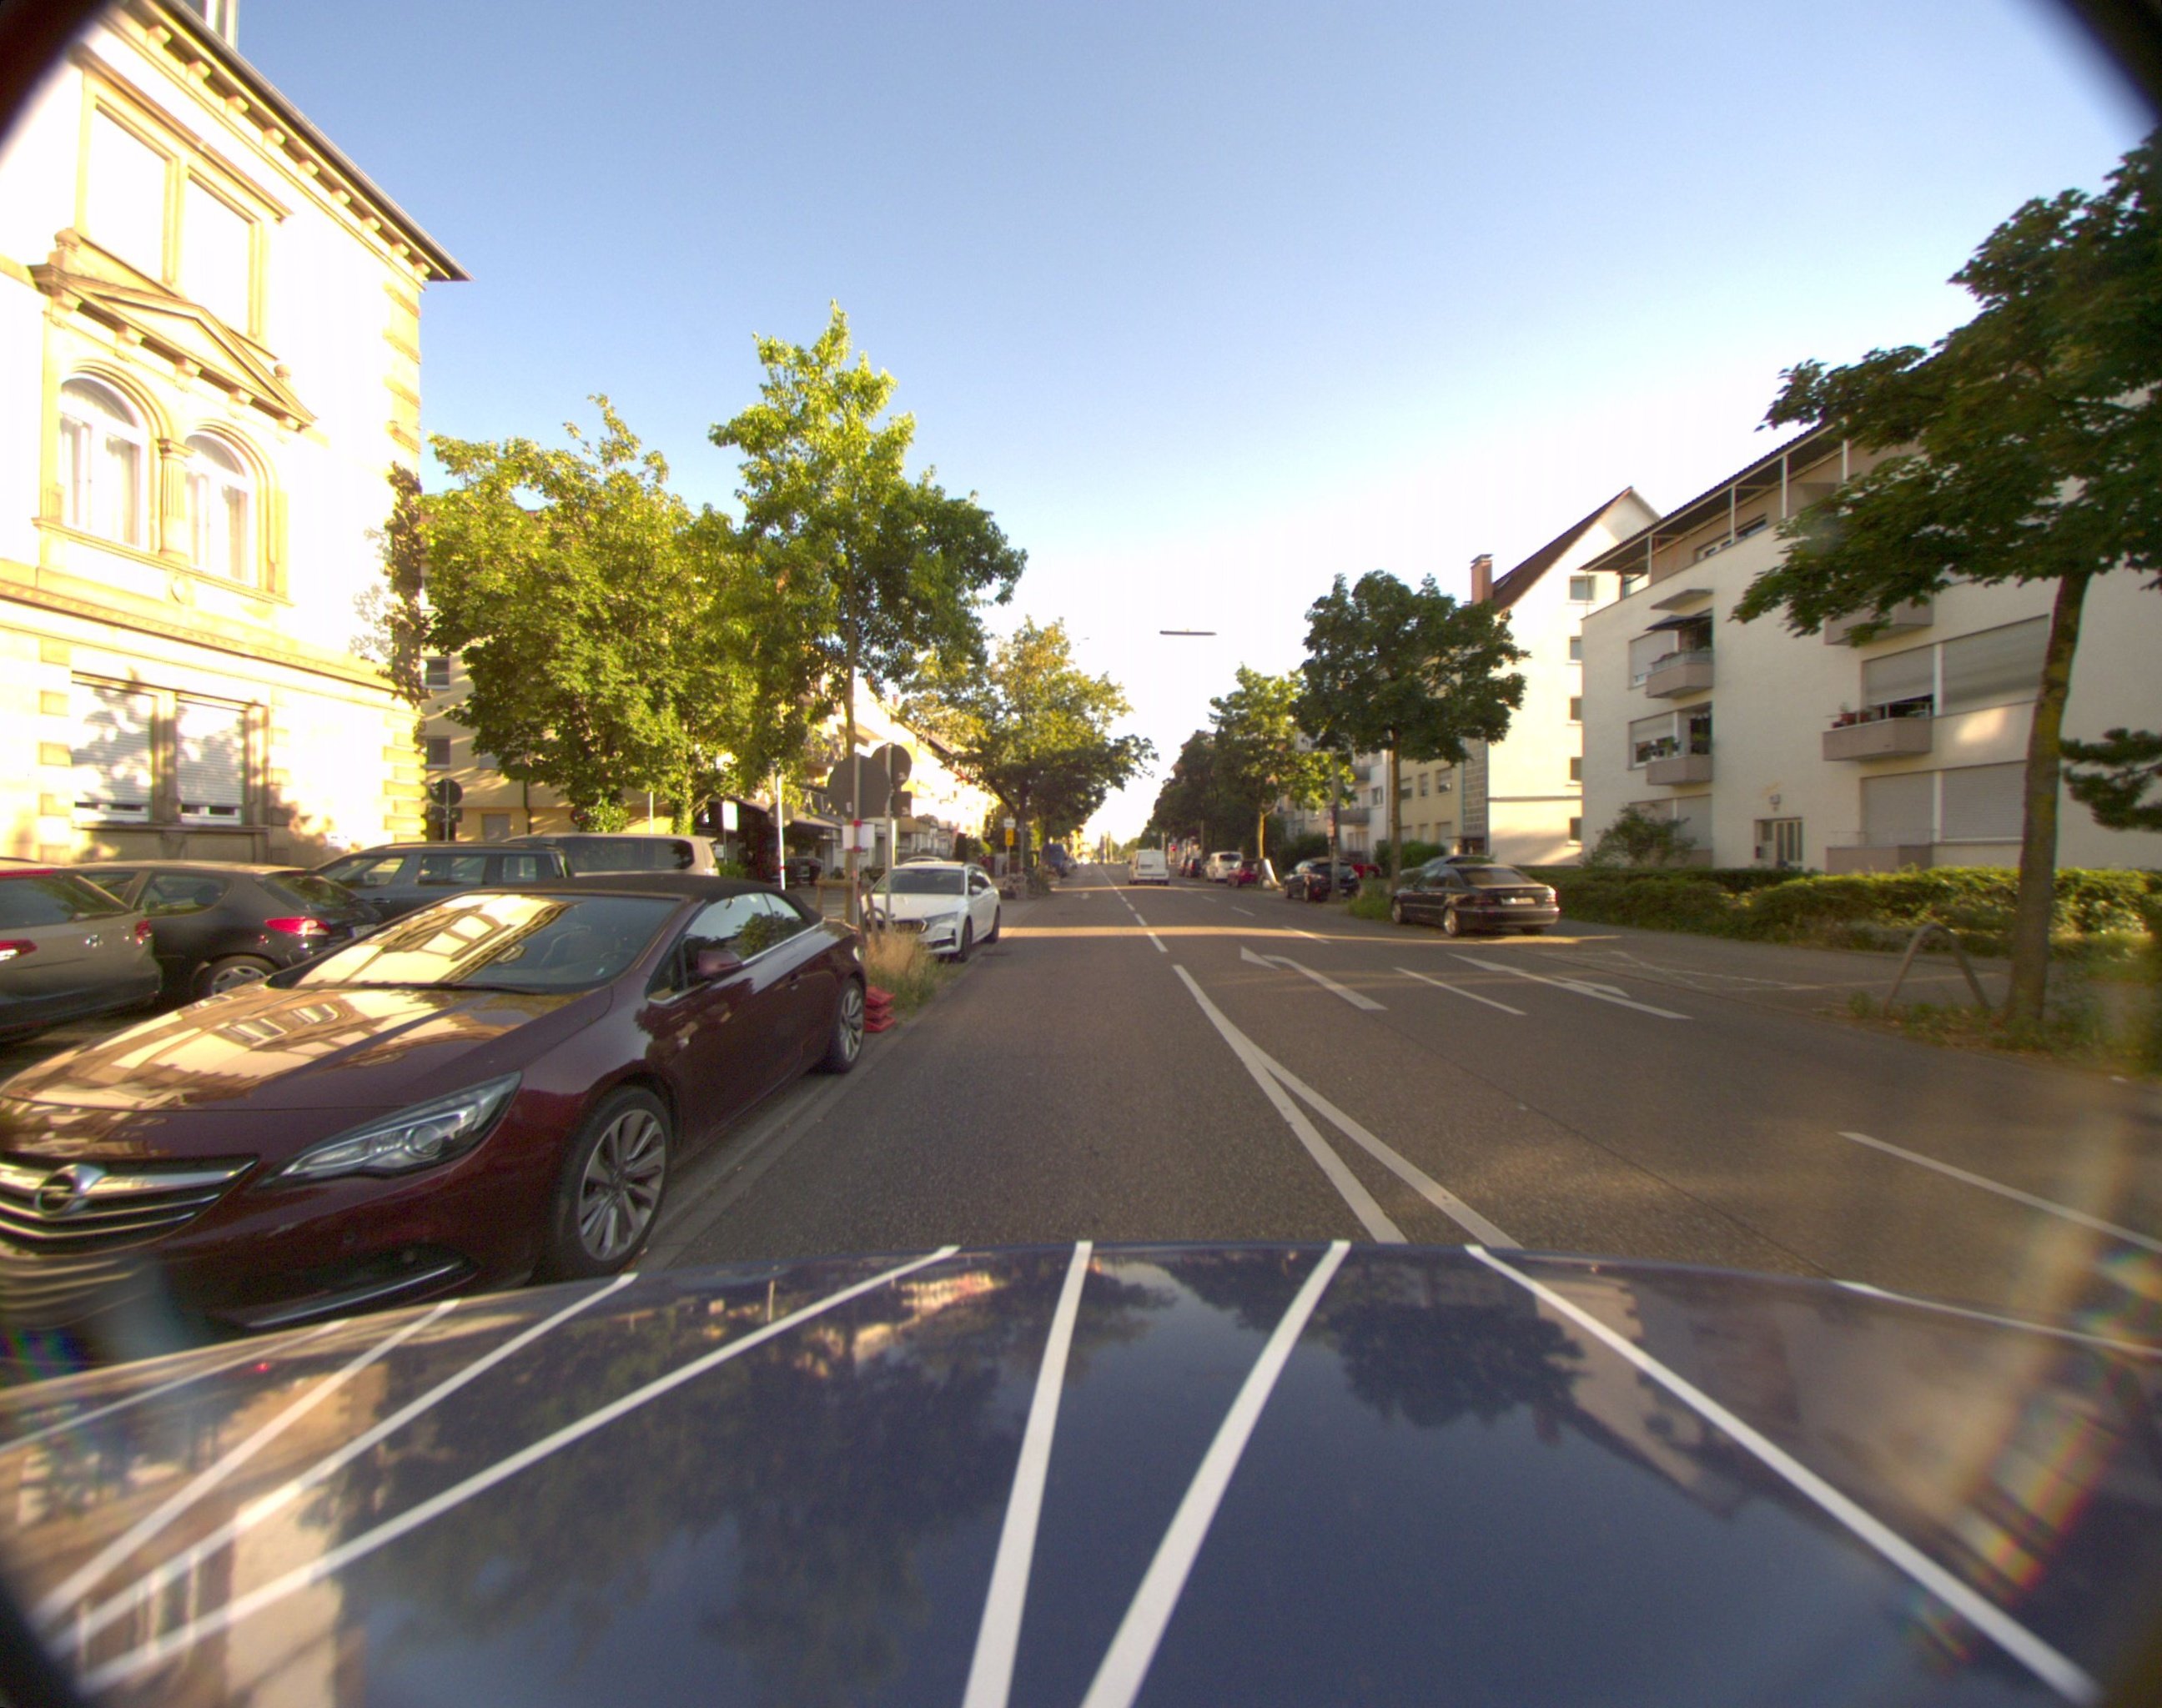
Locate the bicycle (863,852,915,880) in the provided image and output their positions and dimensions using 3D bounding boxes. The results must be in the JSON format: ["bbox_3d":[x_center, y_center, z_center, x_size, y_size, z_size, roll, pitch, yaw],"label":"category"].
[{"bbox_3d":[-10.027,0.613,39.658,2.459,1.433,0.928,0,1,-1],"label":"bicycle"}]

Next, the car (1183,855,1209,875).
[{"bbox_3d":[8.642,0.816,57.305,1.407,1.397,3.683,-2,1,2],"label":"car"}]

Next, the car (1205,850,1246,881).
[{"bbox_3d":[8.704,0.653,46.144,1.740,1.799,4.192,0,0,1],"label":"car"}]

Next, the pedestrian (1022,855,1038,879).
[{"bbox_3d":[-3.079,0.767,45.956,0.917,1.435,0.811,0,1,-1],"label":"pedestrian"}]

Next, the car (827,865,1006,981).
[{"bbox_3d":[-2.416,0.953,12.443,1.825,1.469,4.621,0,0,1],"label":"car"}]

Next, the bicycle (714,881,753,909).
[{"bbox_3d":[-10.824,1.268,23.717,0.486,0.763,1.531,0,0,2],"label":"bicycle"}]

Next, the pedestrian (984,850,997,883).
[{"bbox_3d":[-4.907,0.681,41.354,0.619,1.761,0.562,0,0,2],"label":"pedestrian"}]

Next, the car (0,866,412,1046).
[{"bbox_3d":[-9.177,0.858,7.036,4.105,1.432,1.713,1,0,-22],"label":"car"}]

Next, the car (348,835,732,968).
[{"bbox_3d":[-8.679,0.660,12.826,4.946,1.888,1.916,-1,0,-28],"label":"car"}]

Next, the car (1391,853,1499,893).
[{"bbox_3d":[14.400,0.738,30.196,3.467,1.515,1.686,0,0,2],"label":"car"}]

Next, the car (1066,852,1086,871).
[{"bbox_3d":[-0.448,0.664,70.299,1.704,1.739,4.000,0,0,2],"label":"car"}]

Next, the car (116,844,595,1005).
[{"bbox_3d":[-8.750,0.747,9.750,4.106,1.689,1.783,0,0,-29],"label":"car"}]

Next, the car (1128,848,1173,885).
[{"bbox_3d":[3.584,0.599,39.992,1.893,1.793,4.430,1,0,-1],"label":"car"}]

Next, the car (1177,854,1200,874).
[{"bbox_3d":[8.669,0.788,61.438,1.407,1.456,3.683,-2,1,2],"label":"car"}]

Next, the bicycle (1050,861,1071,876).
[{"bbox_3d":[-1.474,1.044,55.311,1.469,1.058,0.445,0,1,1],"label":"bicycle"}]

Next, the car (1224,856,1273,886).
[{"bbox_3d":[8.586,0.834,39.202,1.740,1.455,3.636,0,0,1],"label":"car"}]

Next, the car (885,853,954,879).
[{"bbox_3d":[-9.696,0.711,45.789,3.878,1.496,1.575,0,0,-4],"label":"car"}]

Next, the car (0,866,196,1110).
[{"bbox_3d":[-9.037,0.823,4.736,4.255,1.502,1.789,1,0,-17],"label":"car"}]

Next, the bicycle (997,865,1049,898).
[{"bbox_3d":[-2.207,1.038,28.681,1.894,1.155,0.616,2,1,28],"label":"bicycle"}]

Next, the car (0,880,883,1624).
[{"bbox_3d":[-2.551,0.953,3.968,1.761,1.412,4.614,2,0,0],"label":"car"}]

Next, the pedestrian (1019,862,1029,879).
[{"bbox_3d":[-3.556,1.048,47.252,0.553,1.053,0.532,0,1,2],"label":"pedestrian"}]

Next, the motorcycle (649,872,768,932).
[{"bbox_3d":[-8.075,1.023,16.559,2.163,1.232,0.789,0,1,-9],"label":"motorcycle"}]

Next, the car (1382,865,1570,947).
[{"bbox_3d":[7.938,0.960,15.801,1.641,1.399,4.444,0,0,0],"label":"car"}]

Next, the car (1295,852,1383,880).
[{"bbox_3d":[15.043,0.681,44.387,4.563,1.397,1.739,-2,1,-9],"label":"car"}]

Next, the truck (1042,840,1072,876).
[{"bbox_3d":[-1.820,0.291,58.878,1.998,2.629,5.616,0,0,1],"label":"truck"}]

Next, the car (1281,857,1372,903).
[{"bbox_3d":[8.435,0.848,26.454,1.862,1.477,4.000,0,0,0],"label":"car"}]
